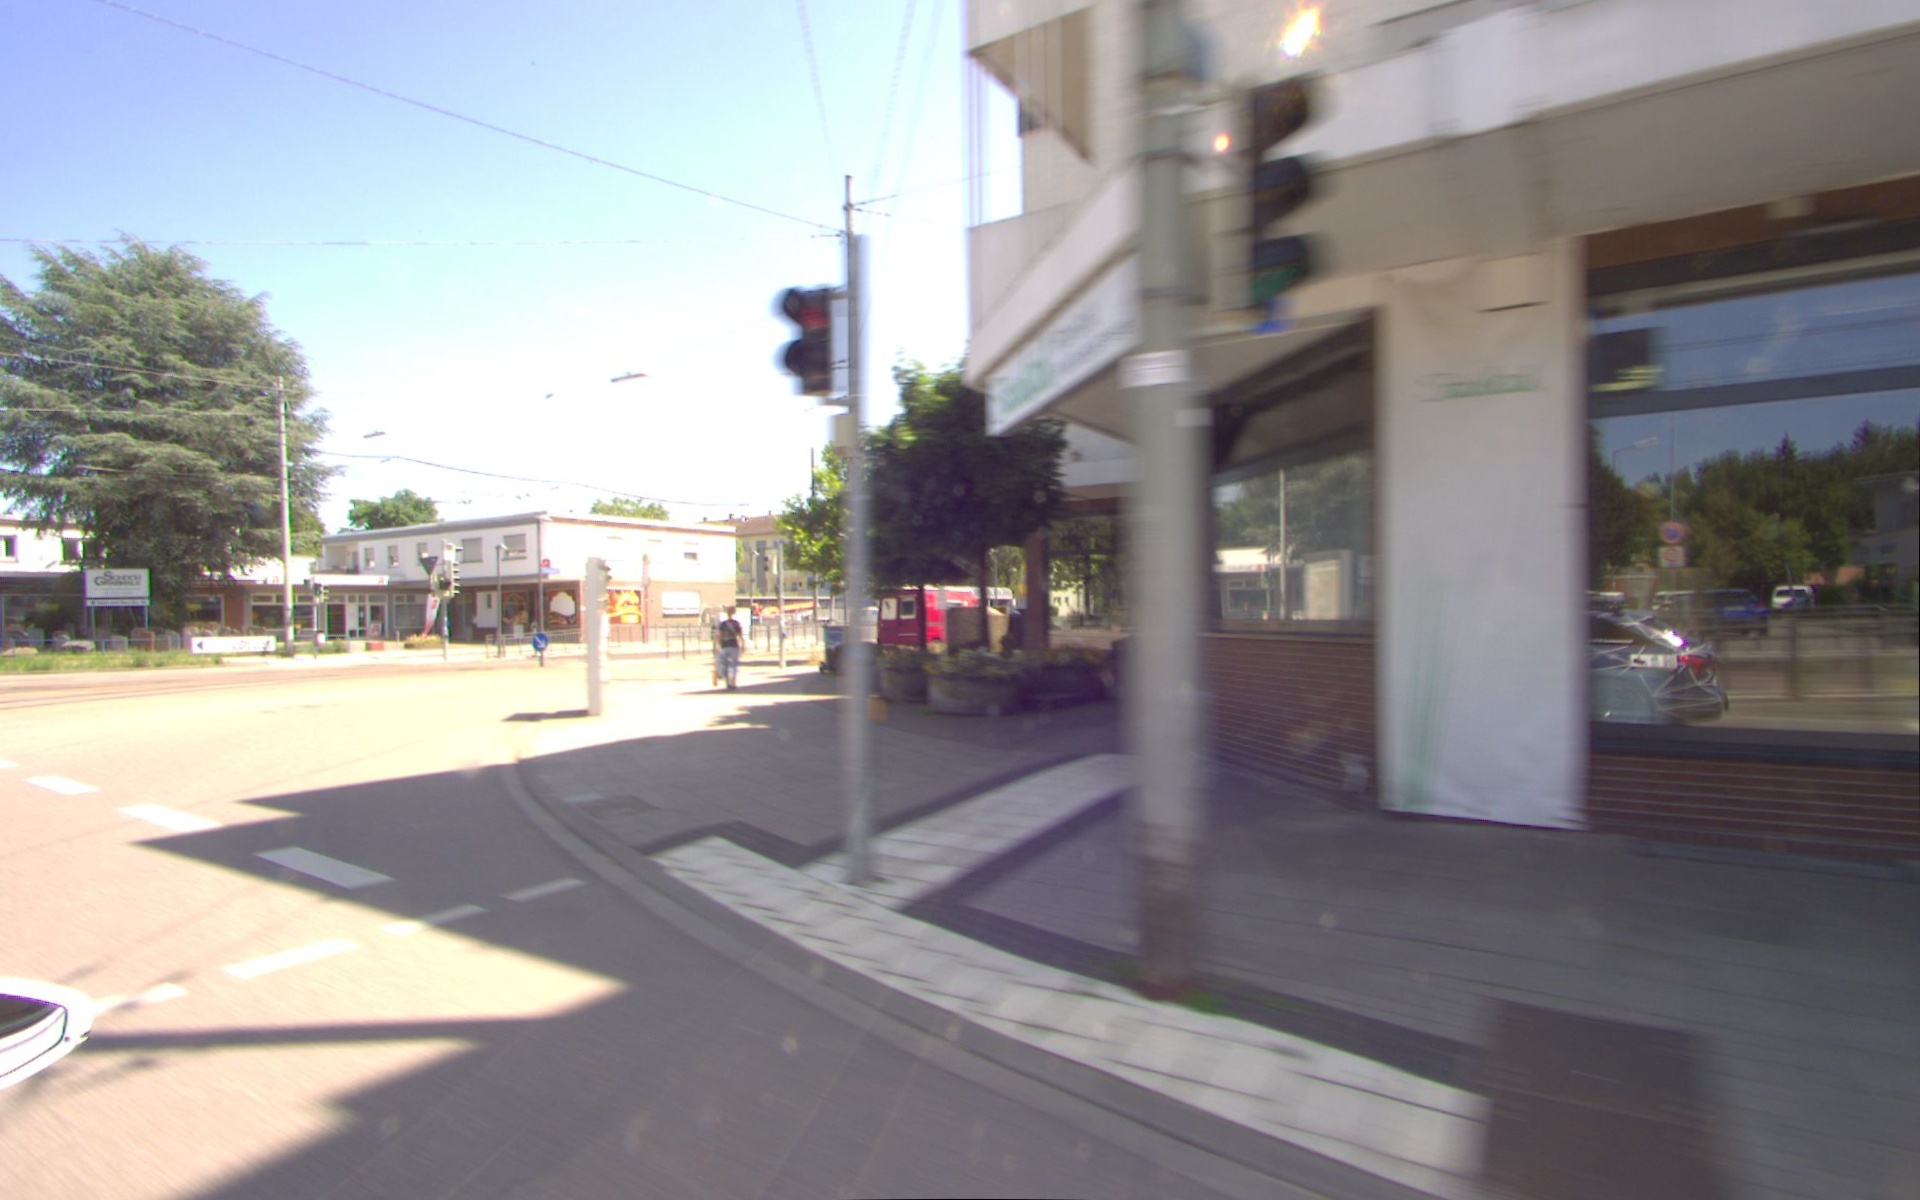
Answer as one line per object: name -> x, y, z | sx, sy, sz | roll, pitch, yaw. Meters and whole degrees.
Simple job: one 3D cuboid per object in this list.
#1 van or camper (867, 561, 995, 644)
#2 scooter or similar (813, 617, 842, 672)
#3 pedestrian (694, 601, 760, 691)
van or camper -> -0.945, 0.114, 36.386 | 2.176, 2.802, 5.215 | 0, 0, 31
scooter or similar -> -3.059, 1.016, 23.189 | 0.387, 1.228, 1.256 | -1, -1, 6
pedestrian -> -4.366, 0.847, 18.769 | 0.817, 1.605, 0.821 | 0, 3, 44
